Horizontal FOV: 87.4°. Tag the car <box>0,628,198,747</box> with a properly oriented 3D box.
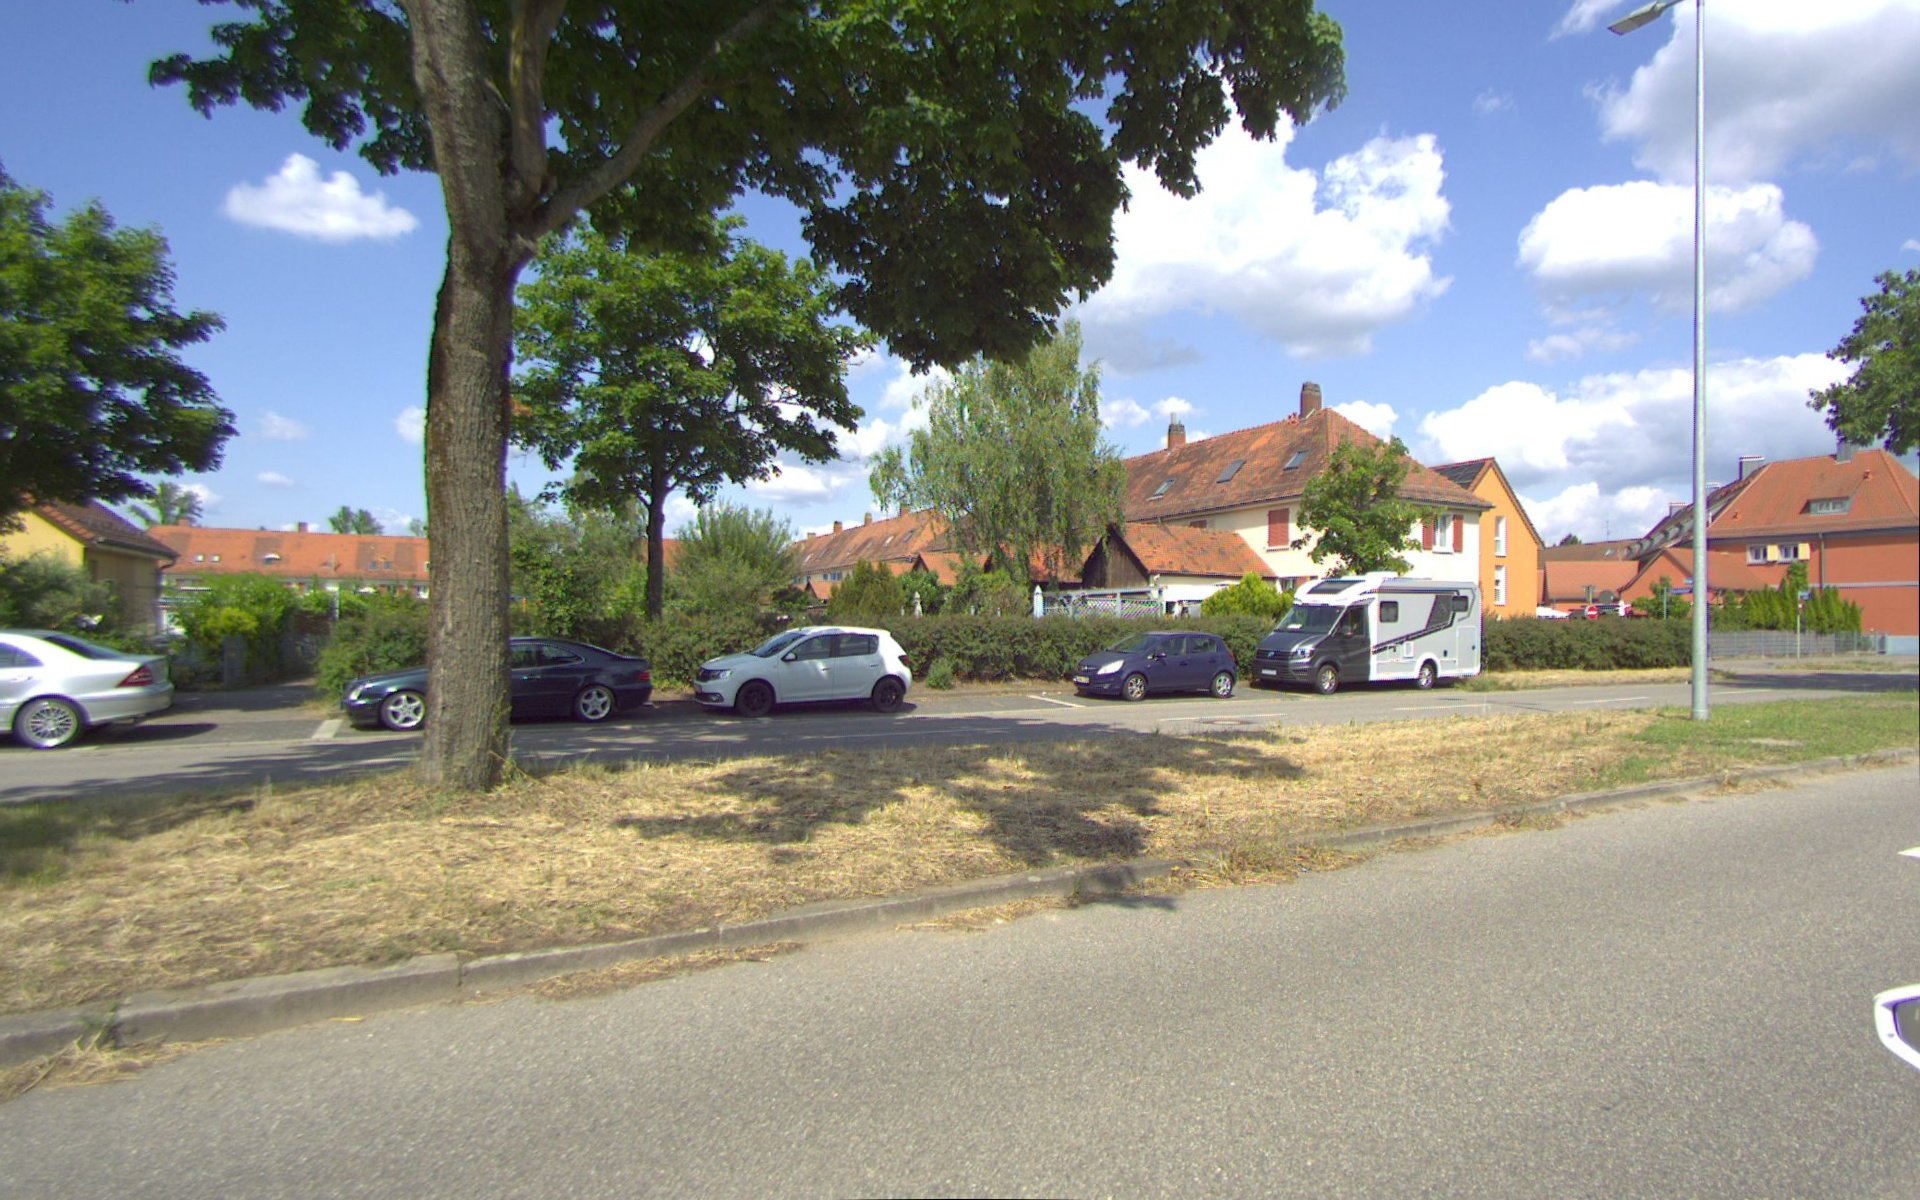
[{"bbox_3d":[-12.542,1.078,12.649,4.475,1.388,1.504,1,1,-29],"label":"car"}]

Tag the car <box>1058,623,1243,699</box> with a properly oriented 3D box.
[{"bbox_3d":[4.299,1.343,22.561,3.944,1.505,1.629,2,0,-29],"label":"car"}]

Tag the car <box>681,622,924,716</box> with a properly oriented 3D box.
[{"bbox_3d":[-2.870,1.230,18.499,4.074,1.505,1.681,2,0,-29],"label":"car"}]

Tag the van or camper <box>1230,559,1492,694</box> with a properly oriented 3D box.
[{"bbox_3d":[10.554,0.635,26.188,7.230,3.154,2.249,1,1,-29],"label":"van or camper"}]

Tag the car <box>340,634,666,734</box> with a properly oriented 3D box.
[{"bbox_3d":[-7.158,1.245,16.012,4.528,1.324,1.629,1,1,-29],"label":"car"}]
